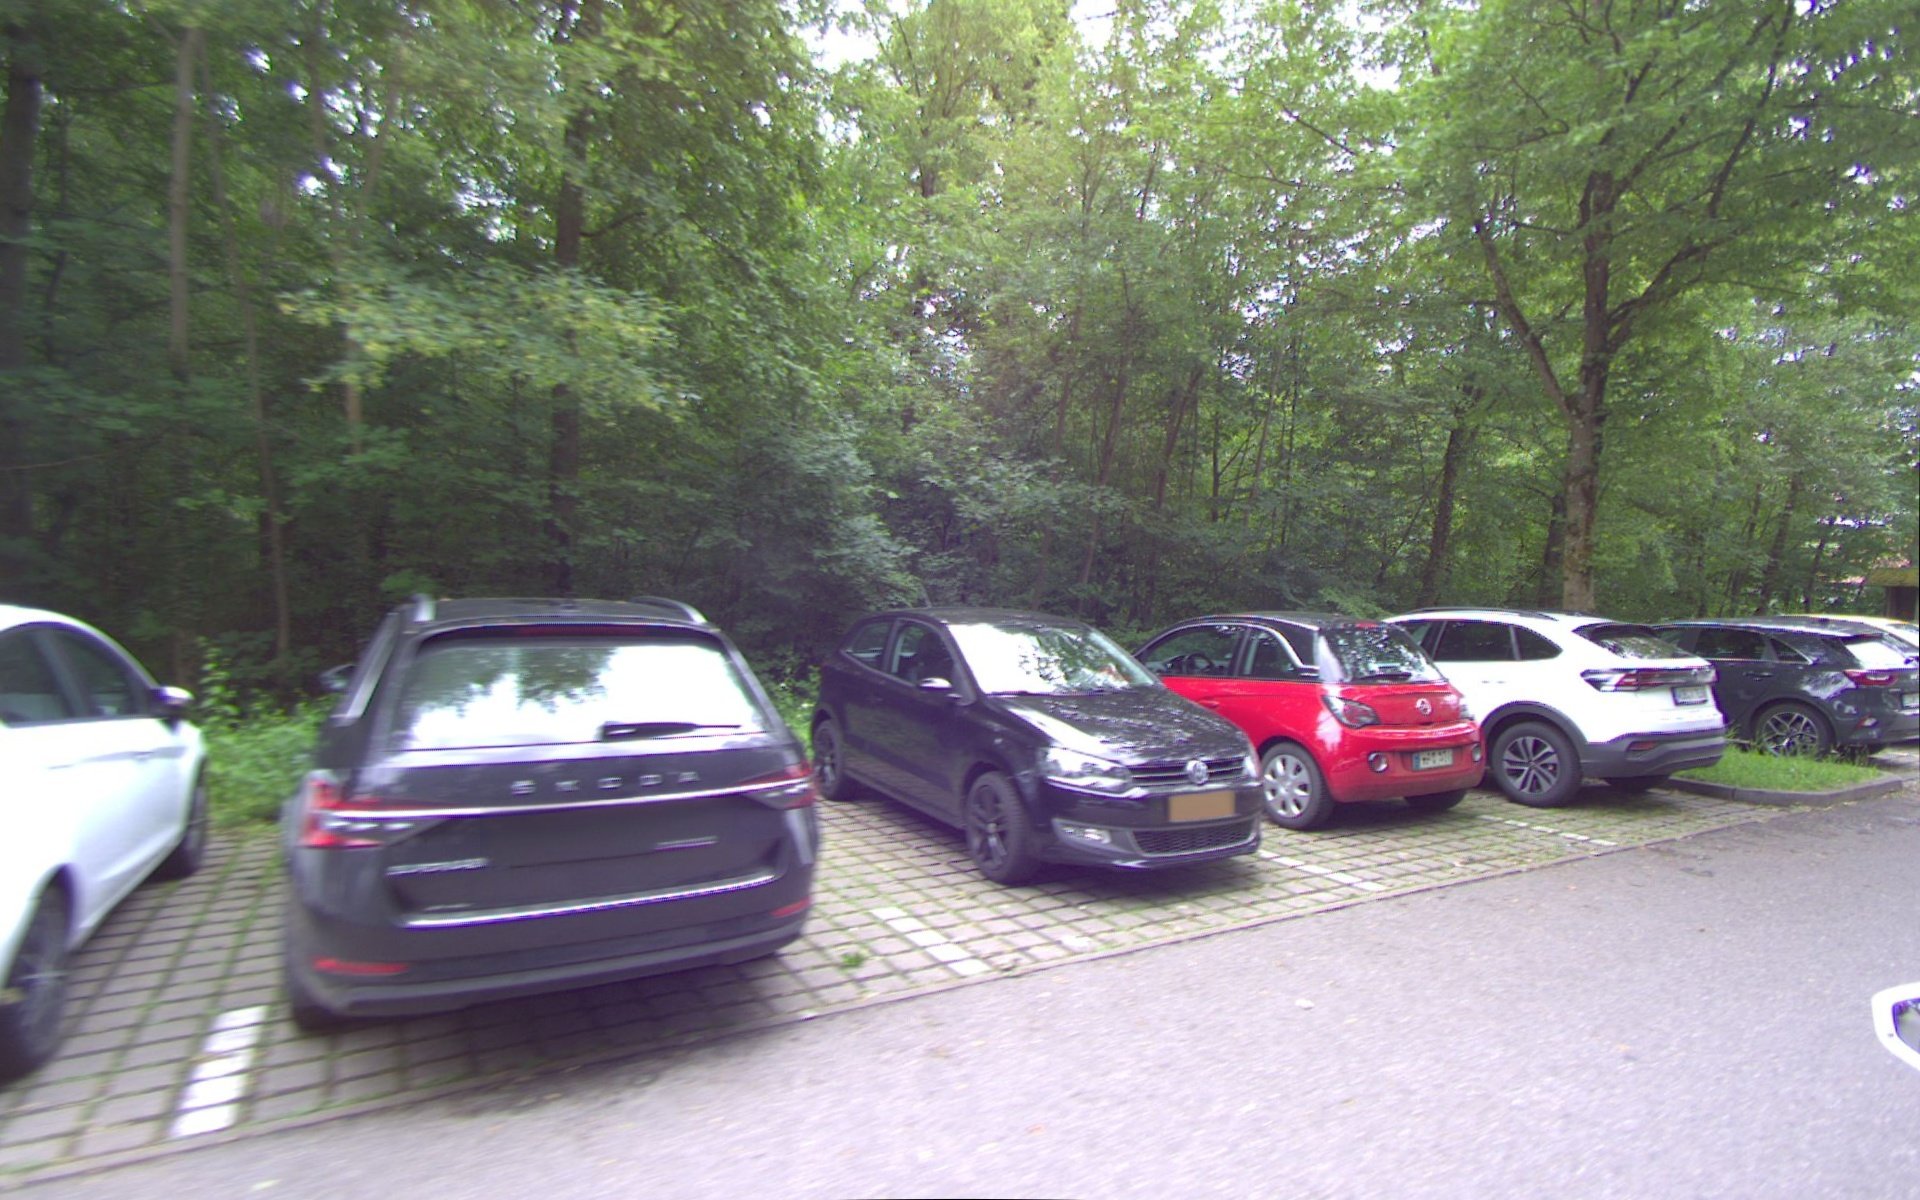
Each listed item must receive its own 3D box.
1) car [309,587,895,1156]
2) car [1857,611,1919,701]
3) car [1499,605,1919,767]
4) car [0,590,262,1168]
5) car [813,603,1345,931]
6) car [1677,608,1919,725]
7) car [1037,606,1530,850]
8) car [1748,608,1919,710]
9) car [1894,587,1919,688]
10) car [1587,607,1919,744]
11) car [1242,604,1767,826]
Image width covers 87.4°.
[{"bbox_3d":[-1.870,0.695,4.770,1.656,1.455,3.971,1,1,-27],"label":"car"},{"bbox_3d":[17.634,1.006,16.507,1.759,1.496,3.966,1,1,-31],"label":"car"},{"bbox_3d":[8.806,0.854,11.910,1.694,1.457,3.968,1,1,-29],"label":"car"},{"bbox_3d":[-4.121,0.712,4.014,1.628,1.454,3.971,3,0,-27],"label":"car"},{"bbox_3d":[0.446,0.797,6.858,1.656,1.455,3.971,1,1,-27],"label":"car"},{"bbox_3d":[13.031,0.924,14.578,1.598,1.457,3.968,1,1,-29],"label":"car"},{"bbox_3d":[2.422,0.840,8.576,1.681,1.455,3.971,1,1,-27],"label":"car"},{"bbox_3d":[15.087,0.934,15.735,1.653,1.457,3.965,1,1,-32],"label":"car"},{"bbox_3d":[19.586,0.753,17.887,1.792,1.887,3.968,1,1,-30],"label":"car"},{"bbox_3d":[10.988,0.895,13.533,1.713,1.457,3.968,1,1,-29],"label":"car"},{"bbox_3d":[4.690,0.833,9.286,1.694,1.487,3.968,1,1,-30],"label":"car"}]
